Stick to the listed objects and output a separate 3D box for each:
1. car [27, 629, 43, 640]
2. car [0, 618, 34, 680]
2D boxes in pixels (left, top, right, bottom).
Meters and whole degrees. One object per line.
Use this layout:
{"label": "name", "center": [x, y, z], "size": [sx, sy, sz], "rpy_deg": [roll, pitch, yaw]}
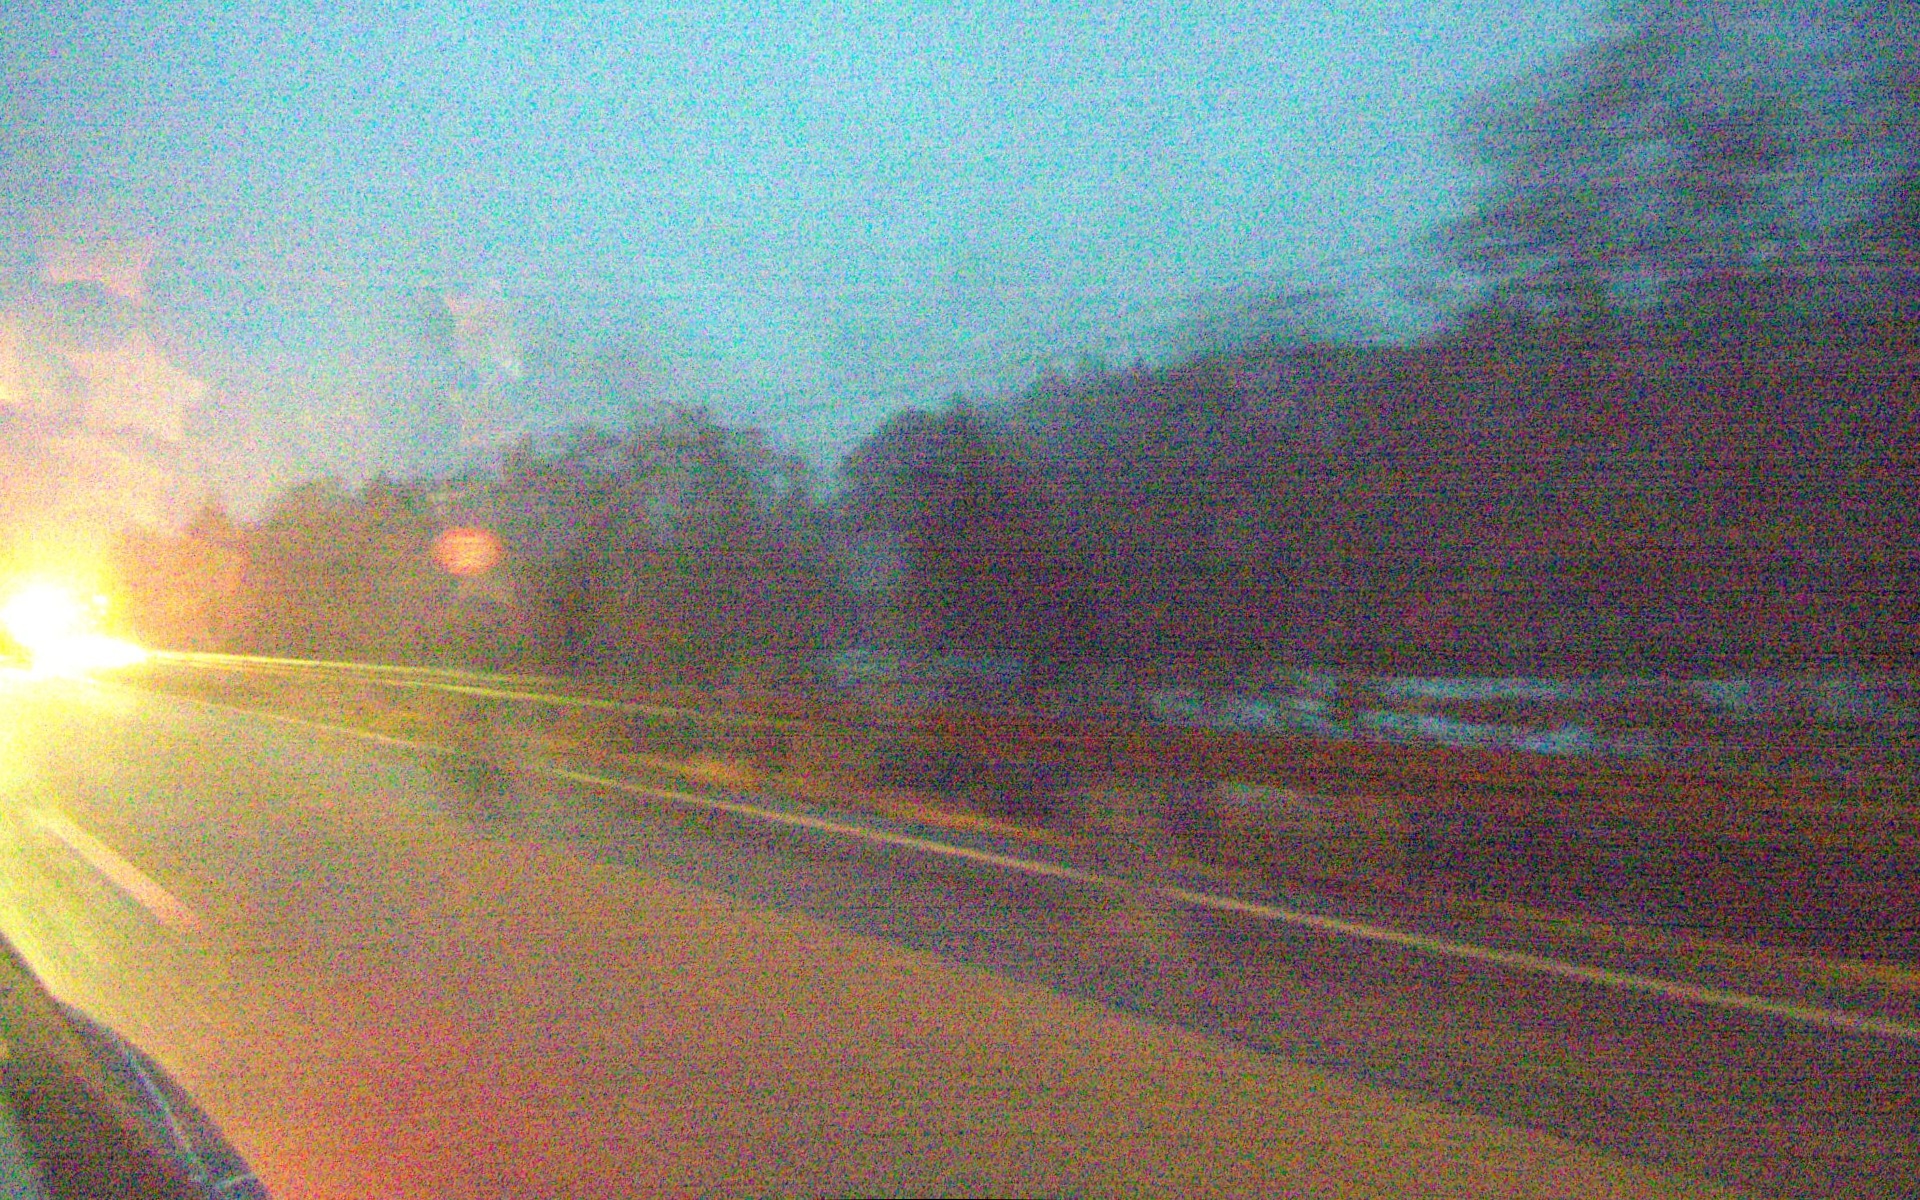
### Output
{"label": "car", "center": [-147.640, 5.485, 161.506], "size": [1.808, 1.566, 4.447], "rpy_deg": [-1, -1, -42]}
{"label": "car", "center": [-26.817, 1.341, 27.761], "size": [4.000, 1.625, 1.703], "rpy_deg": [-2, -1, 42]}
